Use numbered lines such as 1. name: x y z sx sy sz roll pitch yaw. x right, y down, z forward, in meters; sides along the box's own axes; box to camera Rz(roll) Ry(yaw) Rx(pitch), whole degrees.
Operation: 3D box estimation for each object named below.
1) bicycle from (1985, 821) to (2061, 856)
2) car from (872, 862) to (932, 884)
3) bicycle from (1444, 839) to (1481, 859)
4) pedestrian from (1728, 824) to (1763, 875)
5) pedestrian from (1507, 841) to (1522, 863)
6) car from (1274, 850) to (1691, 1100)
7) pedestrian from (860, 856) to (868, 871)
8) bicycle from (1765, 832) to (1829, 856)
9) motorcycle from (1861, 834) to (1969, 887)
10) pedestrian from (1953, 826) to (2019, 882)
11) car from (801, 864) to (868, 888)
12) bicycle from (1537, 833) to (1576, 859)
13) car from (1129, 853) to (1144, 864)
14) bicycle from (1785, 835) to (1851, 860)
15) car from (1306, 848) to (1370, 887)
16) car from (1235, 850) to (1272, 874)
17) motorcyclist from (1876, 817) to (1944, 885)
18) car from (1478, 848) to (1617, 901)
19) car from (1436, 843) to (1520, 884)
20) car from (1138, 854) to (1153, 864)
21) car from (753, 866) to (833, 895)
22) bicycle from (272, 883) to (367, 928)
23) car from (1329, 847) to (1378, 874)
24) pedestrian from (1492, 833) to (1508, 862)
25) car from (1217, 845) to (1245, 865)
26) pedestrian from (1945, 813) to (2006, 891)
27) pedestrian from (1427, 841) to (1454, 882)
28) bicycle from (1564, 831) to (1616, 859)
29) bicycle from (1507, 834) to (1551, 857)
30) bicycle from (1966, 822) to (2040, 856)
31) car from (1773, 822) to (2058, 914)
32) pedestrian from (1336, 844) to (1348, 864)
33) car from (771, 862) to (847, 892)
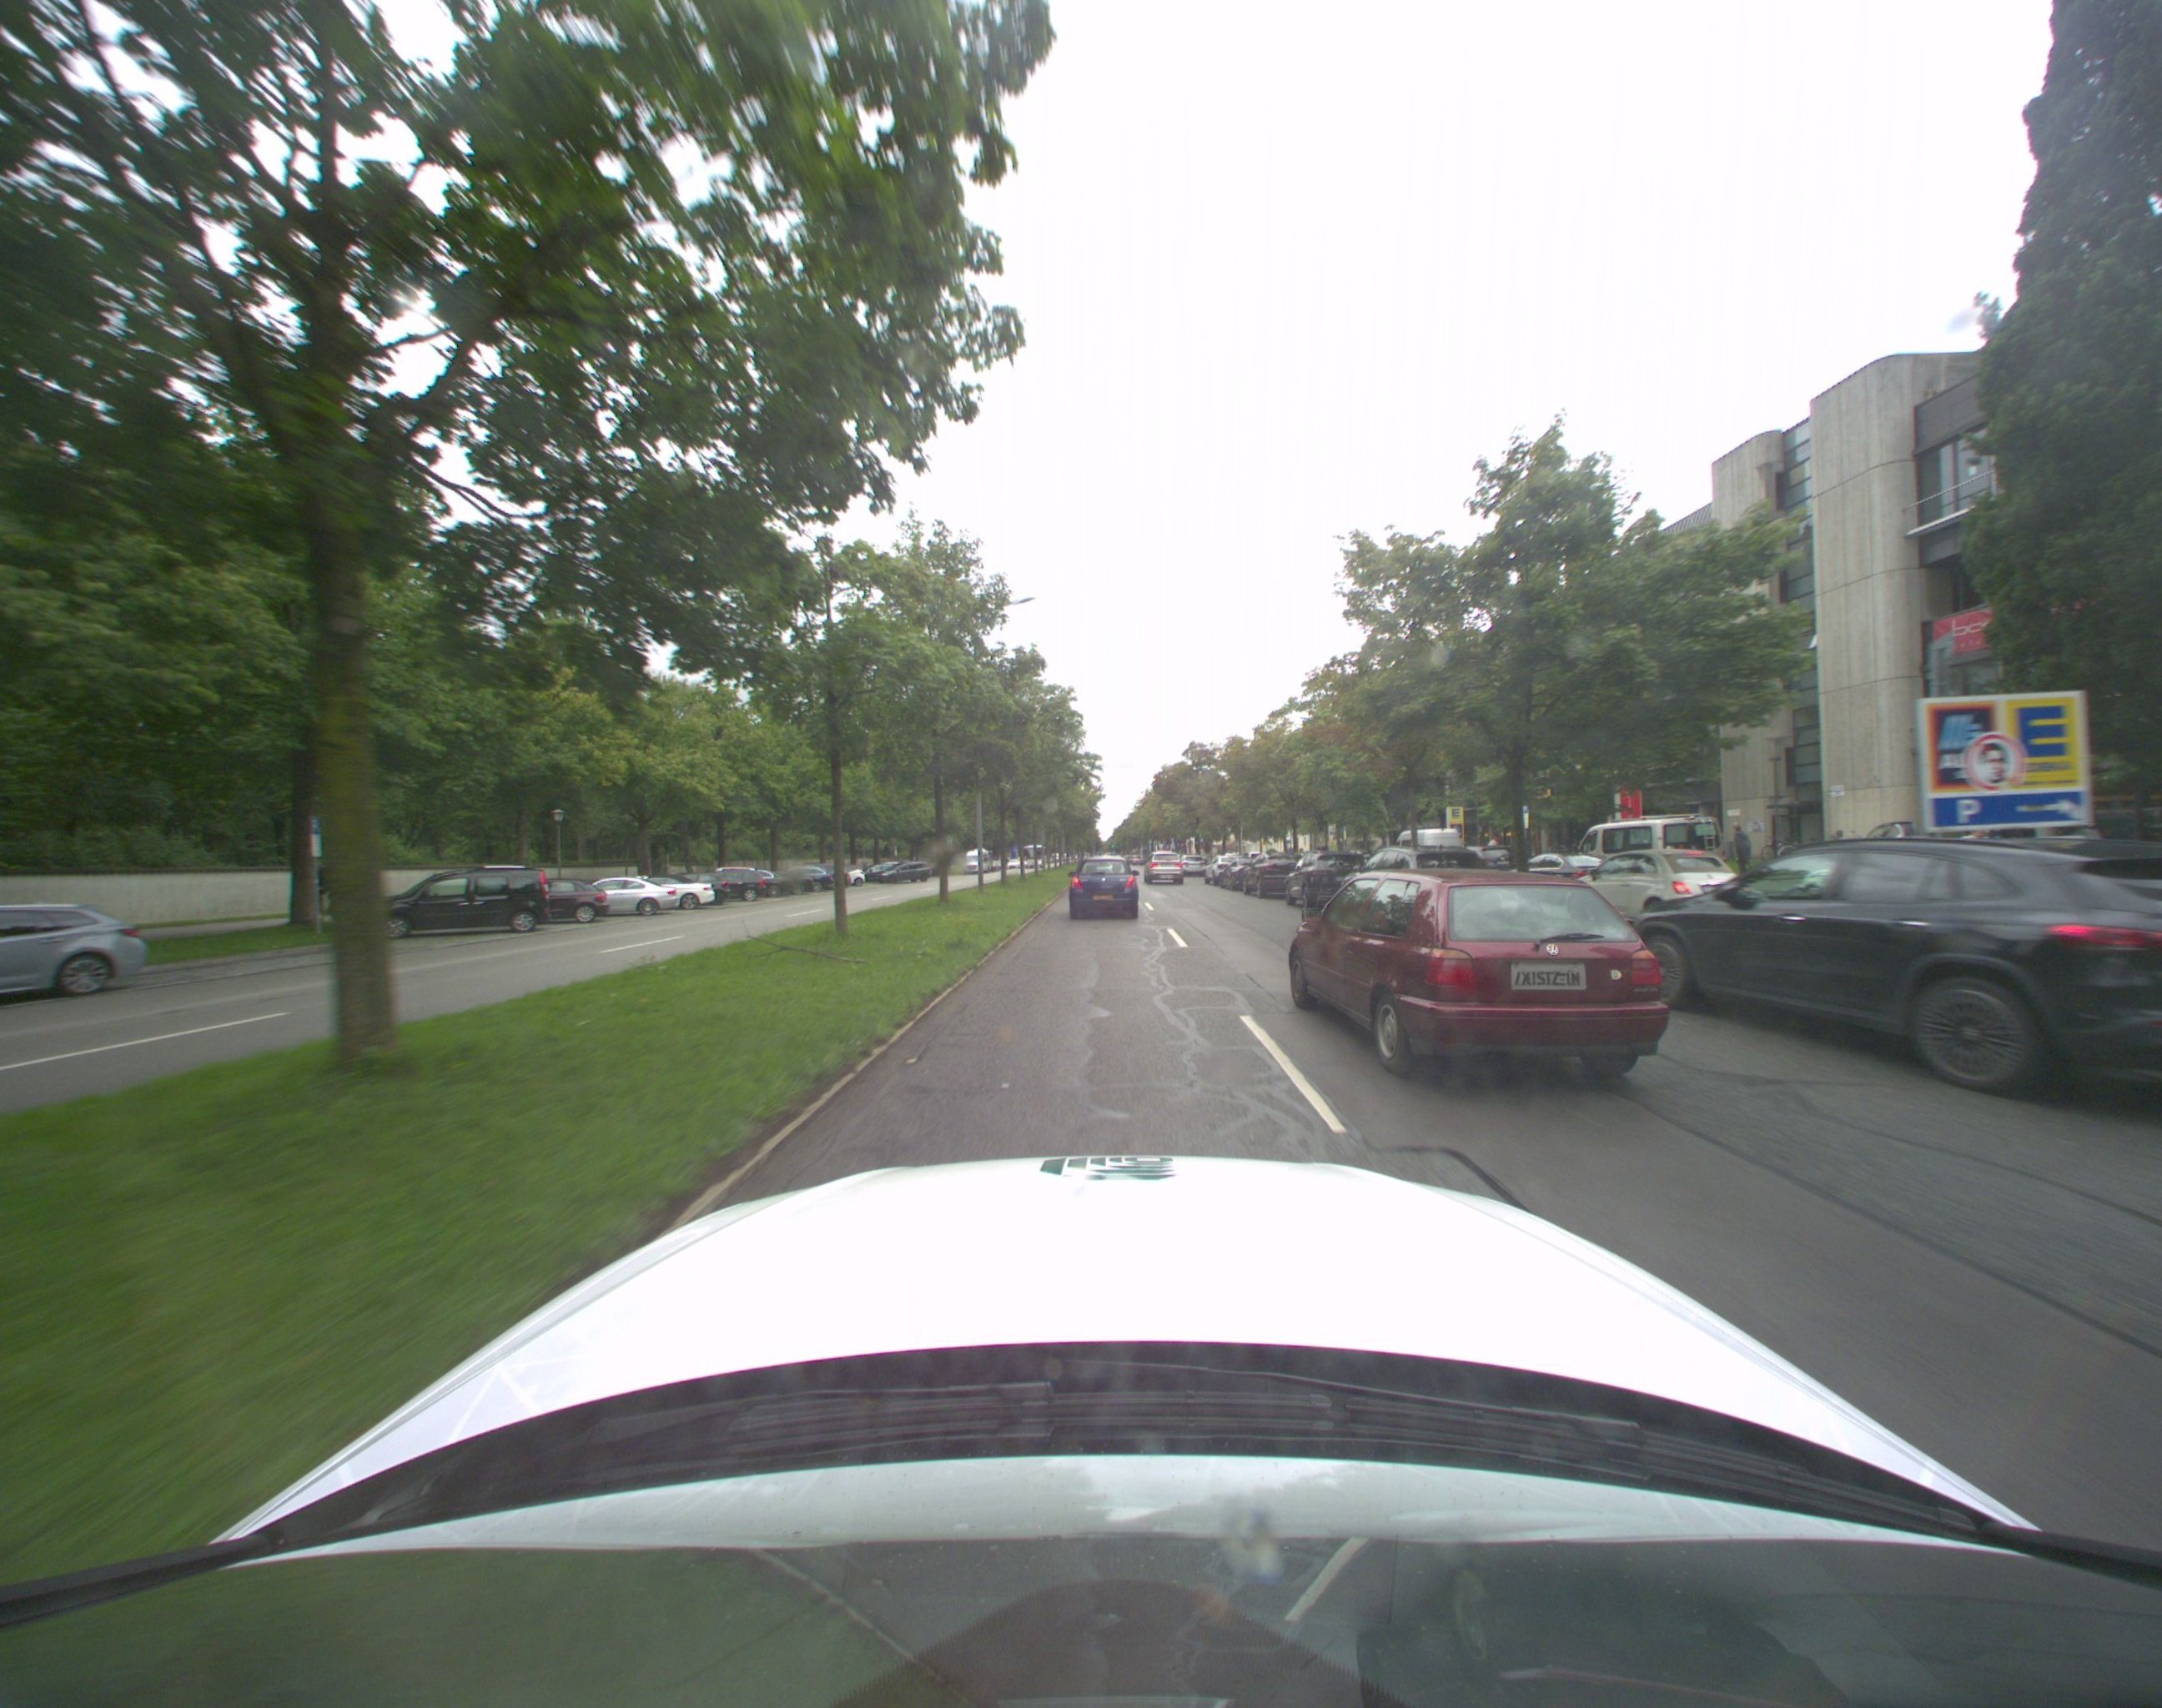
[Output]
1. bicycle: 34.670 -0.568 29.989 2.130 1.204 0.586 -2 0 -1
2. car: -14.077 1.471 64.067 4.209 1.542 1.897 -2 0 -40
3. bicycle: 30.535 -0.420 65.243 2.605 1.508 0.797 -2 0 -5
4. pedestrian: 23.093 -0.160 28.311 0.572 1.751 0.733 -2 0 6
5. pedestrian: 27.040 -0.112 50.796 0.557 1.313 0.549 -2 0 -10
6. car: 2.874 0.728 6.862 1.616 1.454 3.950 -2 0 1
7. pedestrian: -24.637 1.092 92.549 0.682 1.612 0.685 -1 0 -29
8. bicycle: 30.291 -0.423 34.491 2.034 0.958 0.746 -2 0 0
9. motorcycle: 22.311 0.160 21.859 0.693 1.290 2.067 -6 0 2
10. pedestrian: 22.161 0.011 19.946 0.728 1.290 0.699 -4 -1 6
11. car: -17.201 1.540 56.880 4.119 1.501 1.901 -2 0 -29
12. bicycle: 29.077 -0.515 49.829 2.625 1.508 0.791 -2 0 -29
13. car: 8.062 0.654 118.624 1.844 1.447 4.097 -2 0 0
14. bicycle: 30.202 -0.279 33.385 2.034 0.958 0.746 -2 0 0
15. car: 11.399 0.576 36.354 1.677 1.585 4.011 -2 0 2
16. car: 12.062 0.538 57.165 1.678 1.632 4.782 -2 0 2
17. motorcyclist: 22.281 -0.072 21.909 0.688 1.737 0.954 -6 0 1
18. car: 14.418 0.590 25.550 1.678 1.454 4.840 -2 0 2
19. car: 17.126 0.393 35.378 1.741 1.664 4.010 -2 0 1
20. car: 9.814 0.774 124.080 1.844 1.447 4.097 -2 0 0
21. car: -16.792 1.505 47.521 4.122 1.469 1.900 -2 0 -32
22. bicycle: -22.161 1.460 23.752 0.710 1.161 2.117 -2 0 2
23. car: 17.921 0.415 53.693 1.679 1.632 4.498 -2 0 0
24. pedestrian: 26.571 -0.419 51.592 0.557 1.830 0.679 -2 0 -9
25. car: 12.477 0.077 68.127 1.678 1.585 4.029 -2 0 2
26. pedestrian: 20.545 -0.042 18.711 0.572 1.751 0.733 -2 0 6
27. pedestrian: 16.673 0.348 37.776 0.872 1.851 0.903 0 0 0
28. bicycle: 29.596 -0.516 47.372 2.608 1.508 0.796 -2 0 -8
29. bicycle: 31.007 -0.561 56.402 2.605 1.508 0.797 -2 0 -5
30. bicycle: 34.640 -0.567 30.596 2.130 1.204 0.586 -2 0 -1
31. car: 17.289 0.257 17.218 1.986 1.651 4.002 -2 0 2
32. pedestrian: 23.266 -0.012 72.609 0.745 1.706 0.702 -2 0 2
33. car: -16.748 1.386 50.232 4.122 1.679 1.900 -2 0 -32
